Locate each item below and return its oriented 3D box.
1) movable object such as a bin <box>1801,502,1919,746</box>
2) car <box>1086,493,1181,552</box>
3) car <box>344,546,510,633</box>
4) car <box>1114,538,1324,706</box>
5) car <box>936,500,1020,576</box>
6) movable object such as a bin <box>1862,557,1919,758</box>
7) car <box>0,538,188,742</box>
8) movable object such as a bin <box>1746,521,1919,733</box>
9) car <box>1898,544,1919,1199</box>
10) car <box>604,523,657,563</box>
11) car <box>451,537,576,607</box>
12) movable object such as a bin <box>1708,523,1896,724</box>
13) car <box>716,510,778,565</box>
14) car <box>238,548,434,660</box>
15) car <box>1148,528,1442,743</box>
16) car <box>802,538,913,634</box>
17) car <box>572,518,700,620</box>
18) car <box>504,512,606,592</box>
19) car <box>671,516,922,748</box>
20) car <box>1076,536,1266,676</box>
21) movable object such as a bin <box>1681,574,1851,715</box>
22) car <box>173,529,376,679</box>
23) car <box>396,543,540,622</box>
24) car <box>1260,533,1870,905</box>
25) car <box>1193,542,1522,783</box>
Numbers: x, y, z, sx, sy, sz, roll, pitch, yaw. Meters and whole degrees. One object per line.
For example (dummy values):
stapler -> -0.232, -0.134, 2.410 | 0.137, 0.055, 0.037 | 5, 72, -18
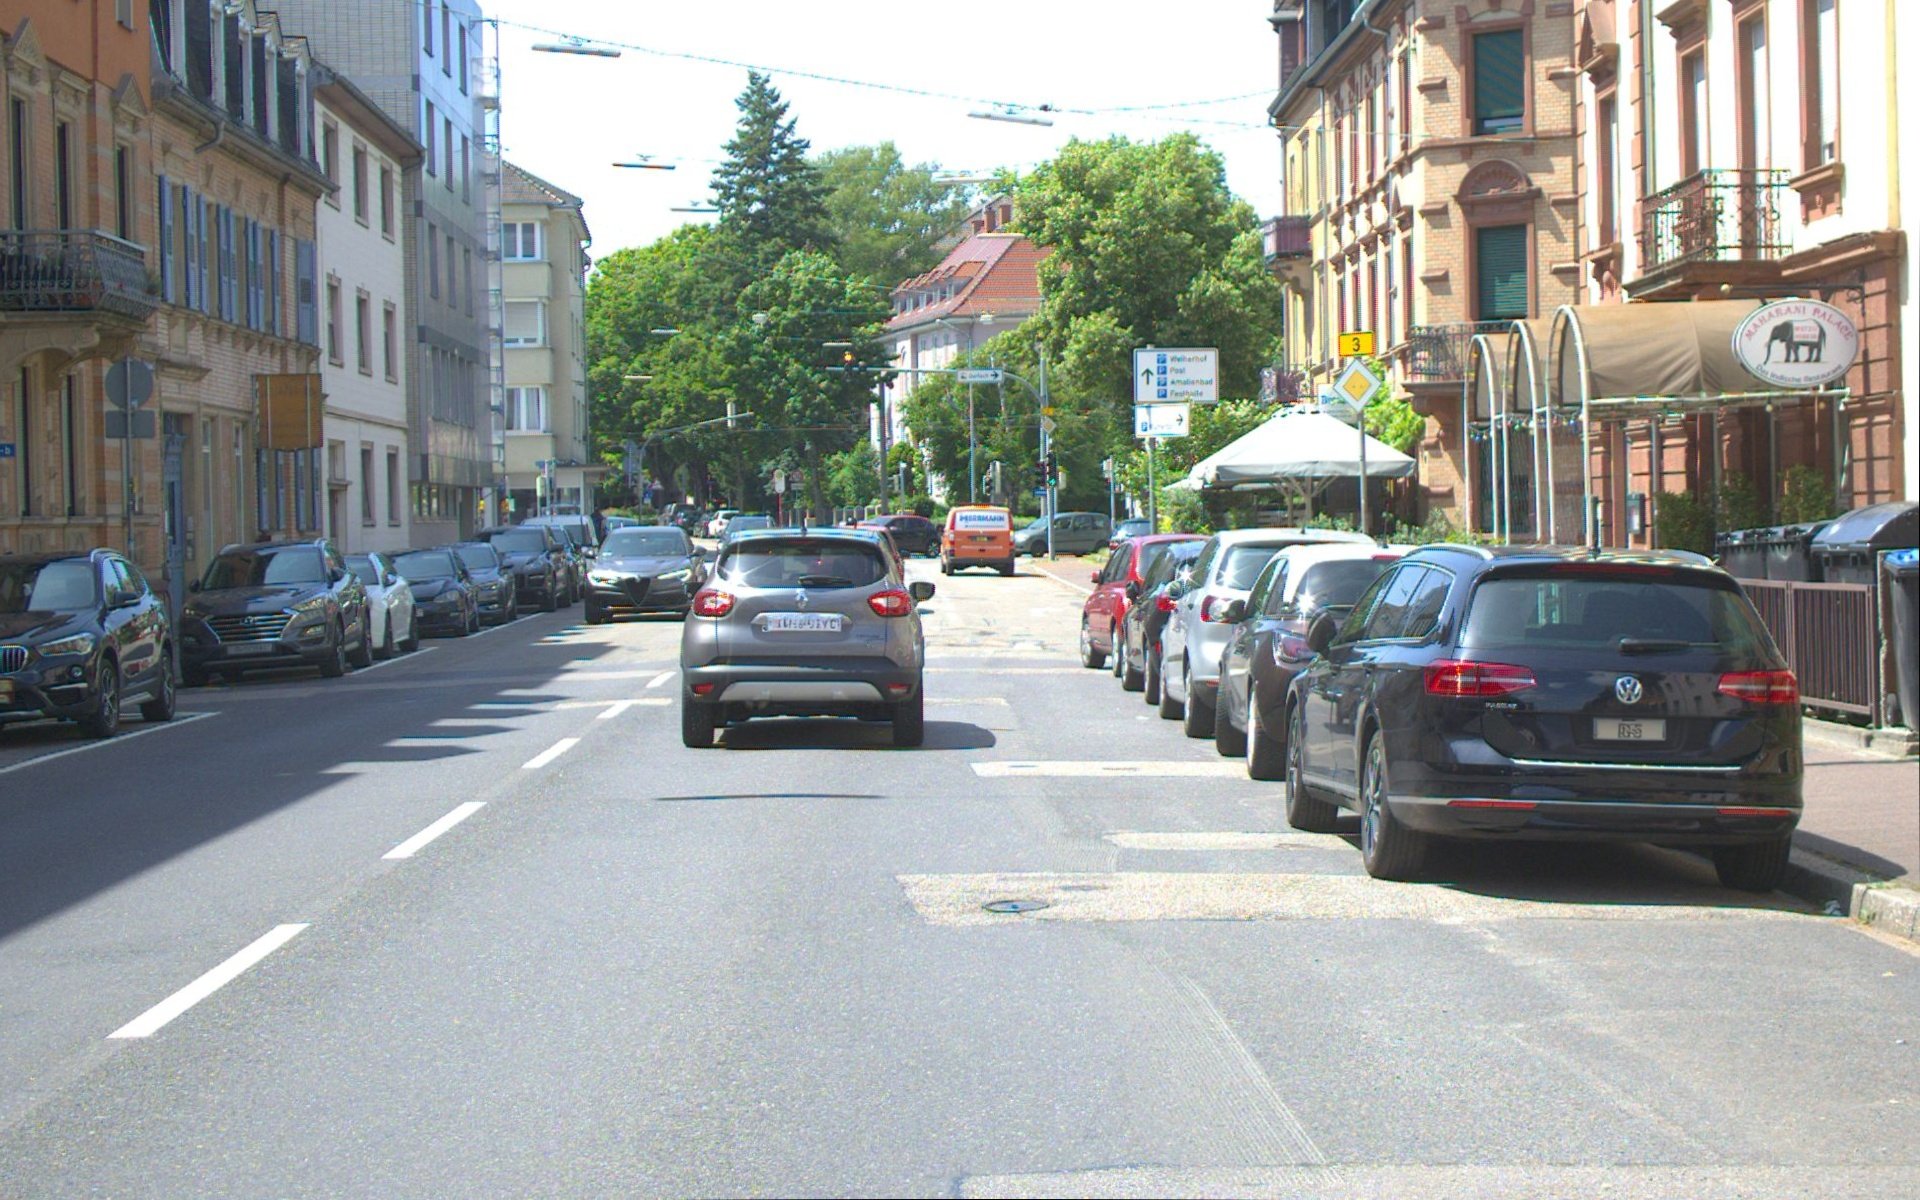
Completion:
movable object such as a bin -> 6.090, 0.136, 22.045 | 1.043, 1.513, 1.446 | 0, 1, 1
car -> 4.658, -2.086, 91.911 | 1.899, 1.503, 3.941 | -1, 1, 12
car -> -8.493, -0.195, 55.131 | 1.905, 1.287, 4.302 | -1, 1, 1
car -> 2.338, 0.161, 31.756 | 1.611, 1.456, 3.505 | 0, 1, -1
car -> 0.475, -1.717, 94.850 | 1.993, 2.007, 4.467 | -2, 1, -3
movable object such as a bin -> 5.859, 0.333, 20.653 | 0.638, 1.173, 0.911 | 0, 1, 1
car -> -8.109, 0.318, 29.899 | 1.904, 1.614, 4.303 | -3, 1, -2
movable object such as a bin -> 6.017, 0.166, 23.418 | 1.043, 1.397, 1.254 | 0, 1, 1
car -> 2.710, 0.698, 4.194 | 1.695, 1.482, 4.619 | 1, 1, -2
car -> -13.657, -2.382, 142.556 | 1.790, 1.620, 3.743 | -1, 1, 0
car -> -8.718, -0.571, 67.463 | 1.904, 1.287, 4.303 | -1, 1, 0
movable object such as a bin -> 6.026, 0.151, 24.675 | 1.043, 1.397, 1.254 | 0, 1, 1
car -> -6.501, -1.927, 104.670 | 1.790, 1.620, 3.744 | -1, 1, -4
car -> -8.488, 0.016, 47.105 | 1.904, 1.352, 4.303 | -3, 1, -1
car -> 2.557, 0.217, 27.128 | 1.860, 1.548, 4.000 | 1, 1, -1
car -> -1.896, -0.281, 62.574 | 1.812, 1.615, 4.442 | -2, 1, -4
car -> -5.589, -0.564, 59.737 | 1.939, 1.620, 4.001 | -3, 1, -2
car -> -9.576, -1.157, 81.633 | 1.904, 1.815, 4.303 | -1, 1, 0
car -> -1.205, 0.182, 26.004 | 1.744, 1.611, 4.001 | 0, 1, -2
car -> 2.255, 0.031, 37.463 | 1.611, 1.438, 3.437 | 0, 1, -4
movable object such as a bin -> 6.039, 0.326, 25.813 | 1.043, 1.019, 0.991 | 0, 1, 1
car -> -8.227, 0.015, 41.593 | 1.904, 1.614, 4.303 | -3, 1, -6
car -> -8.681, -0.342, 60.975 | 1.904, 1.287, 4.302 | -1, 1, 0
car -> 2.637, 0.436, 16.129 | 1.860, 1.460, 4.619 | 1, 1, -2
car -> 2.548, 0.346, 22.879 | 1.660, 1.436, 4.000 | 0, 1, -1
